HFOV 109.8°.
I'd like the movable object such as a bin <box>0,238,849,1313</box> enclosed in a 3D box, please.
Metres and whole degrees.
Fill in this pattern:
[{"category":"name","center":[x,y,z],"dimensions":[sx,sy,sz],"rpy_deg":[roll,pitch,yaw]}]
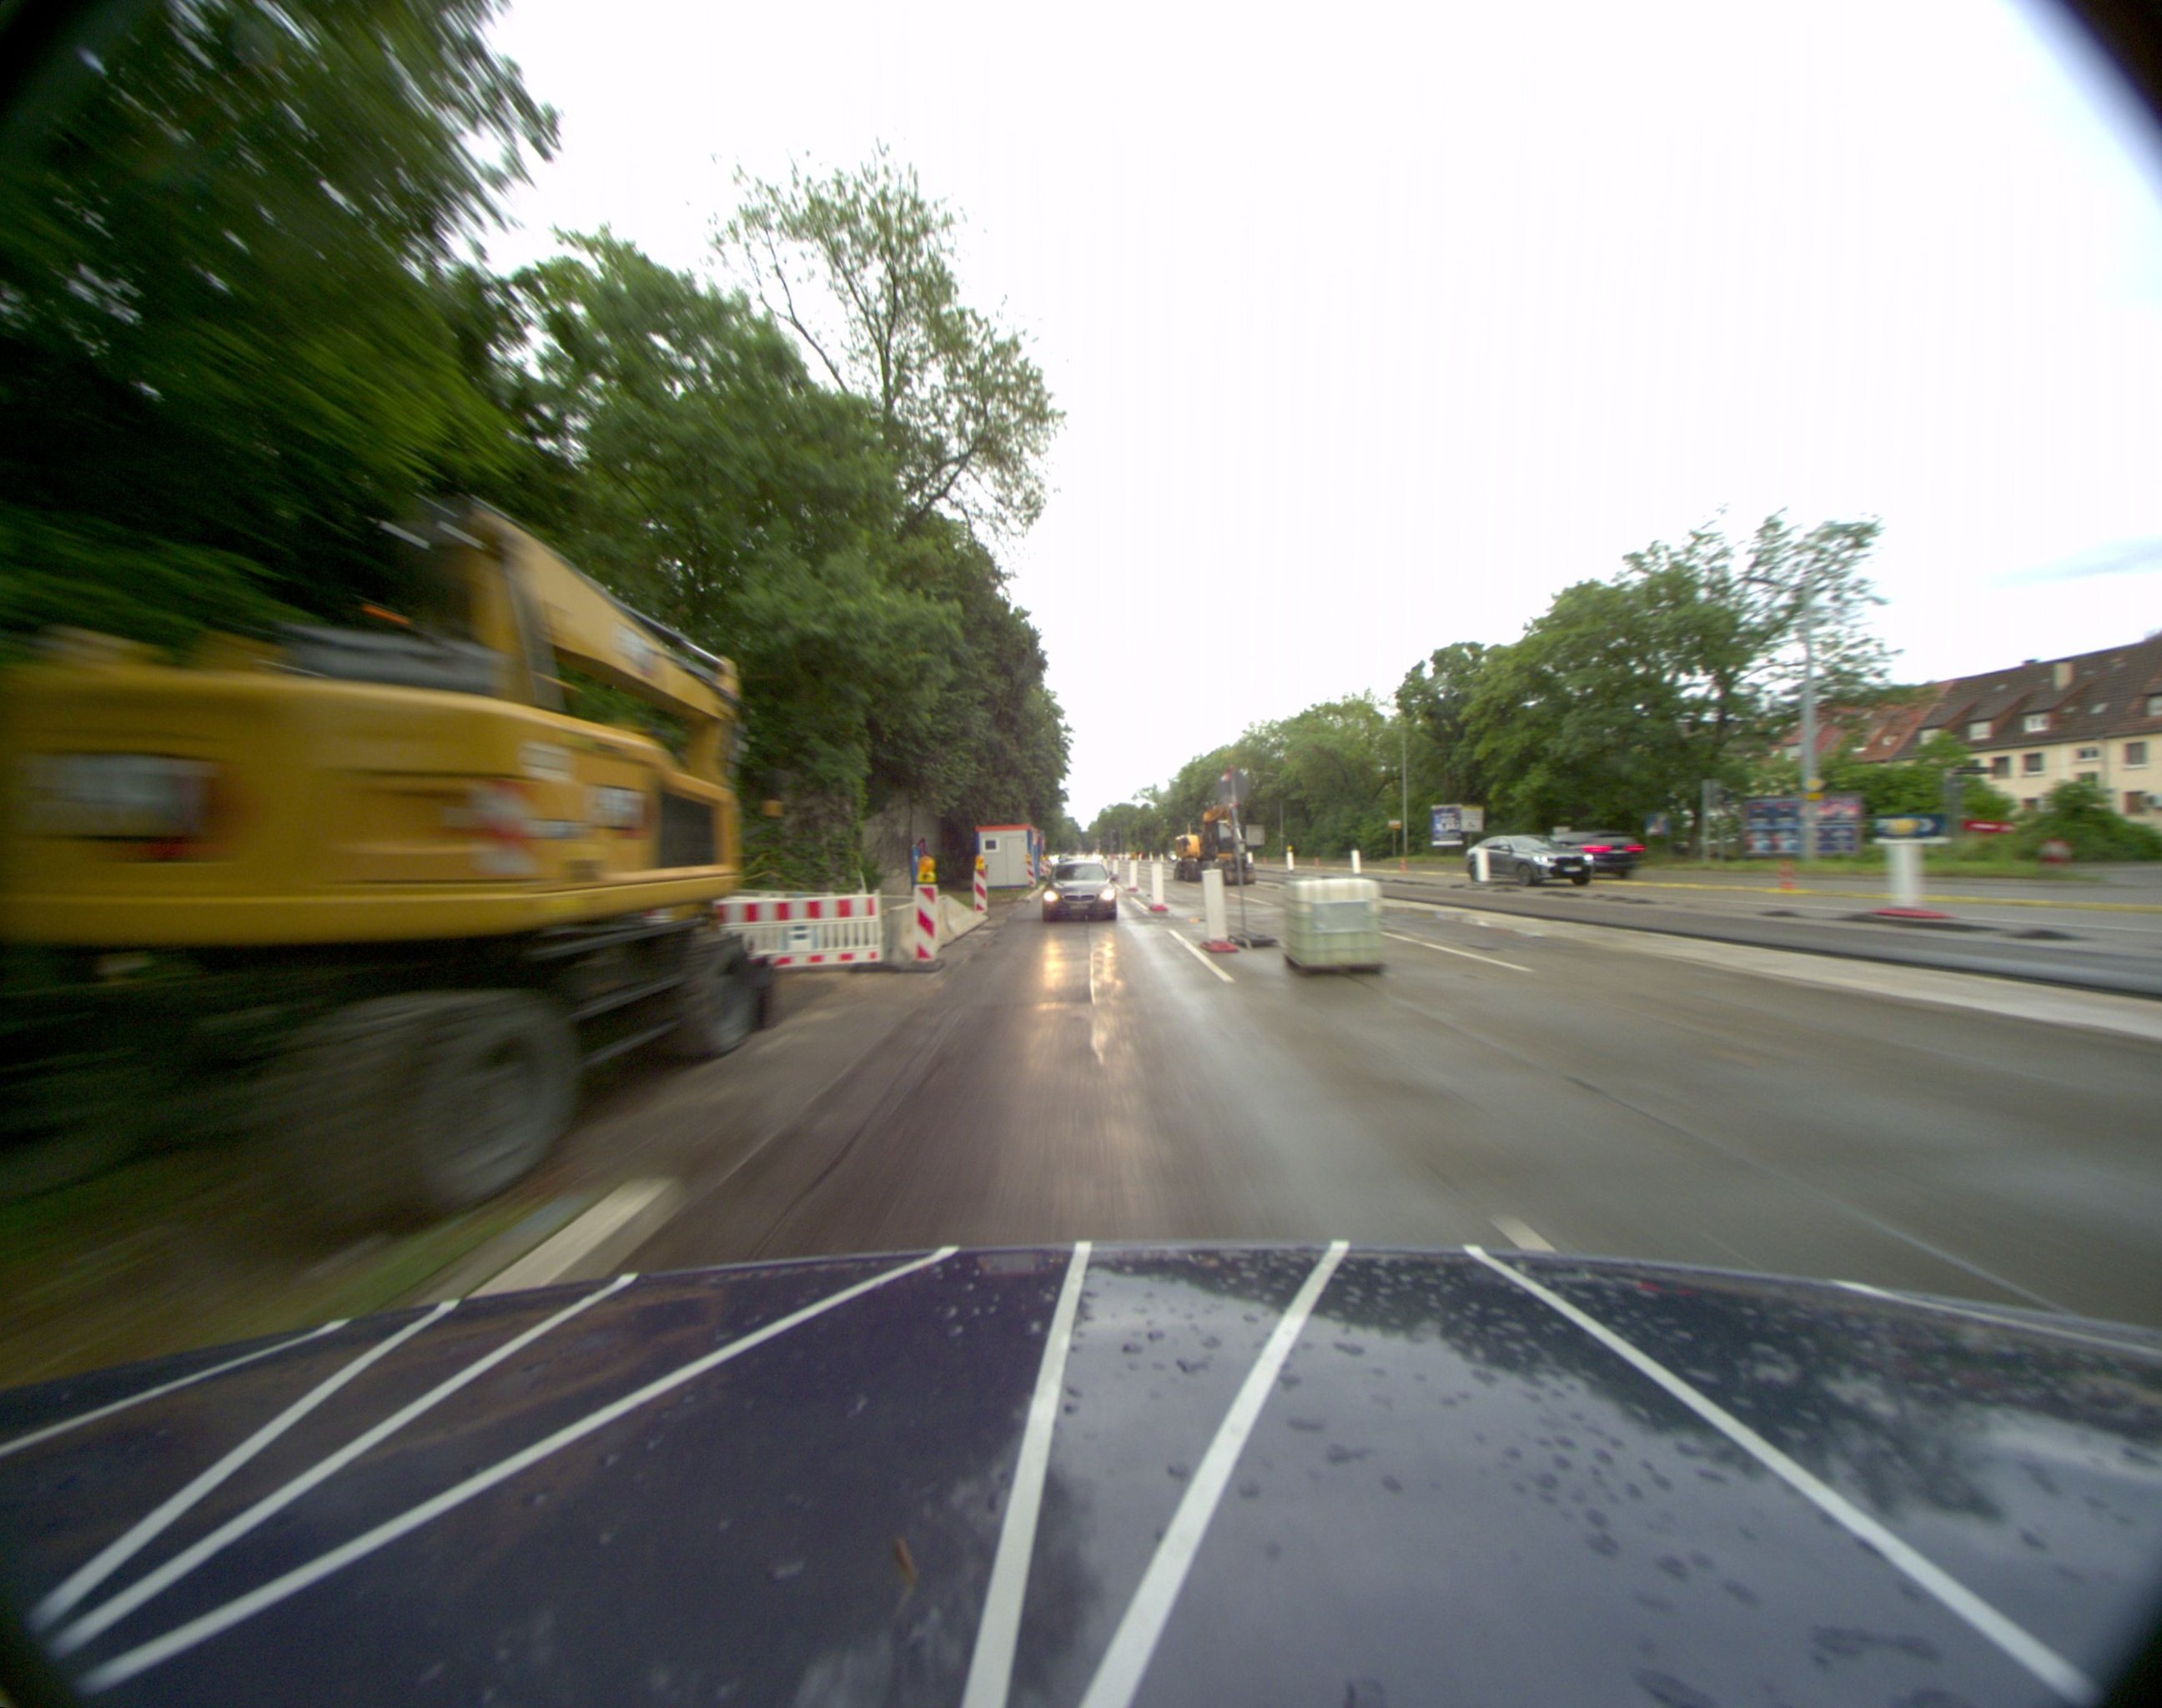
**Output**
[{"category":"movable object such as a bin","center":[-4.223,-0.269,5.847],"dimensions":[2.890,3.917,6.104],"rpy_deg":[-2,1,-1]}]

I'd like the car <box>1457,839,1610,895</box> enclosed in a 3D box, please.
[{"category":"car","center":[14.893,0.358,25.422],"dimensions":[2.082,1.604,5.055],"rpy_deg":[-2,1,0]}]

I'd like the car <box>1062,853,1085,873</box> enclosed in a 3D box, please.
[{"category":"car","center":[-0.698,0.831,70.818],"dimensions":[1.998,1.650,4.229],"rpy_deg":[-2,1,1]}]

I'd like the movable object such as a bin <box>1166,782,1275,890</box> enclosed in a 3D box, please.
[{"category":"movable object such as a bin","center":[6.564,-0.839,37.730],"dimensions":[3.526,4.495,10.069],"rpy_deg":[-2,1,1]}]

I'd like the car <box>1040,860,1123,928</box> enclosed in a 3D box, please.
[{"category":"car","center":[-0.009,0.933,19.418],"dimensions":[1.838,1.397,3.999],"rpy_deg":[-2,1,-1]}]

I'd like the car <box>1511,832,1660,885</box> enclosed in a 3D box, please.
[{"category":"car","center":[18.730,0.129,28.564],"dimensions":[2.221,1.729,5.055],"rpy_deg":[-2,1,0]}]
